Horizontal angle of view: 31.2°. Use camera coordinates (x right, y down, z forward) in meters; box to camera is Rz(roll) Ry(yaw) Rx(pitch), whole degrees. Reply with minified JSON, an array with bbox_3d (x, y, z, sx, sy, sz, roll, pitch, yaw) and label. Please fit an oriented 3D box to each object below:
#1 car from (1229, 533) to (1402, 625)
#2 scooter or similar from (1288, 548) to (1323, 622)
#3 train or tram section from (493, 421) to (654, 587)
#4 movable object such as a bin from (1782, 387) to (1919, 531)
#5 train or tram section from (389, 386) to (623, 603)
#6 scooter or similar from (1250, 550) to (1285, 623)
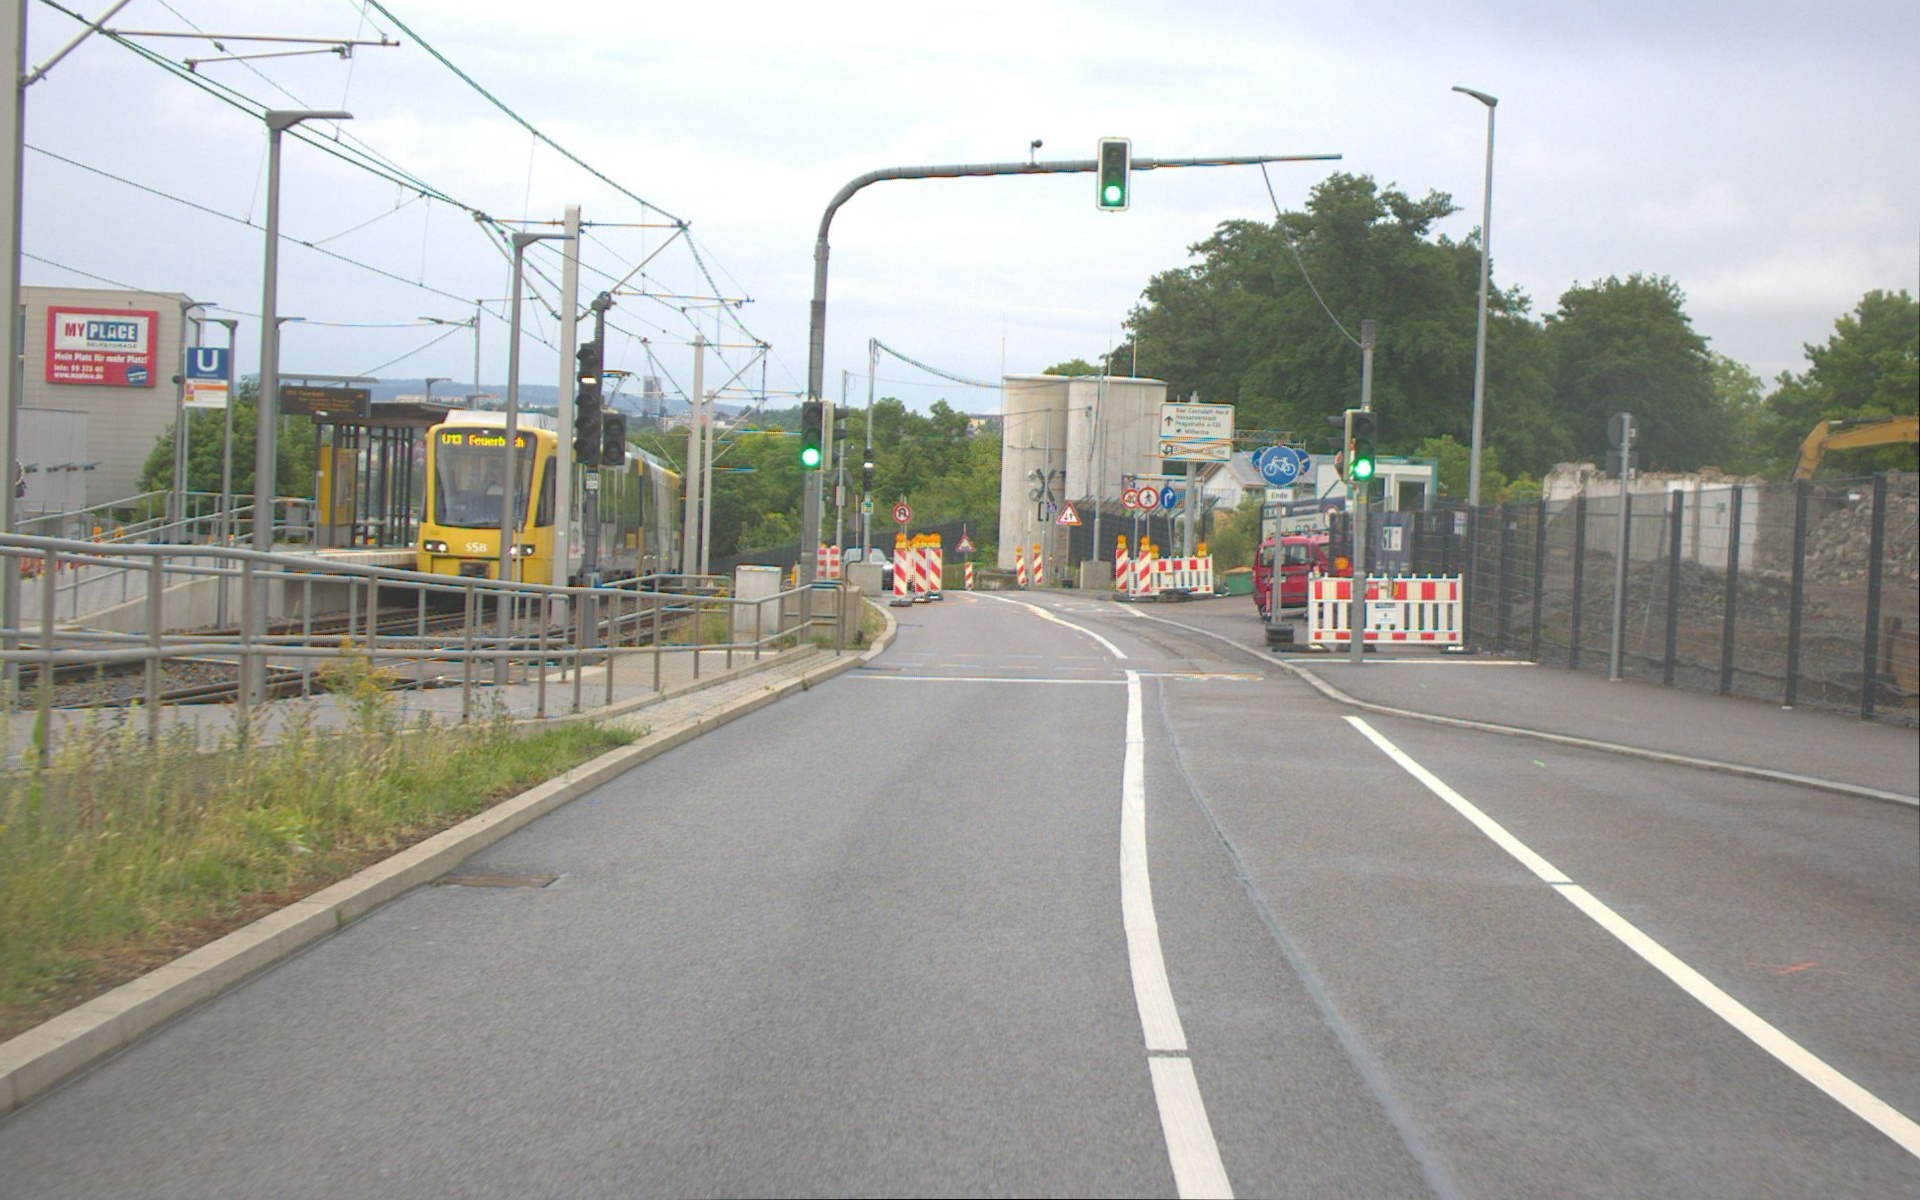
[{"bbox_3d":[7.328,-0.438,70.525,1.822,1.787,4.401,2,1,30],"label":"car"},{"bbox_3d":[6.491,-0.293,64.658,0.615,1.346,1.912,2,1,5],"label":"scooter or similar"},{"bbox_3d":[-10.185,-2.504,92.634,2.955,3.872,19.294,3,1,-3],"label":"train or tram section"},{"bbox_3d":[41.174,-5.974,147.216,11.234,5.975,3.490,1,0,7],"label":"movable object such as a bin"},{"bbox_3d":[-9.332,-2.136,73.218,2.955,3.872,19.575,3,1,-2],"label":"train or tram section"},{"bbox_3d":[5.792,-0.266,64.739,0.615,1.346,1.912,2,1,5],"label":"scooter or similar"}]
